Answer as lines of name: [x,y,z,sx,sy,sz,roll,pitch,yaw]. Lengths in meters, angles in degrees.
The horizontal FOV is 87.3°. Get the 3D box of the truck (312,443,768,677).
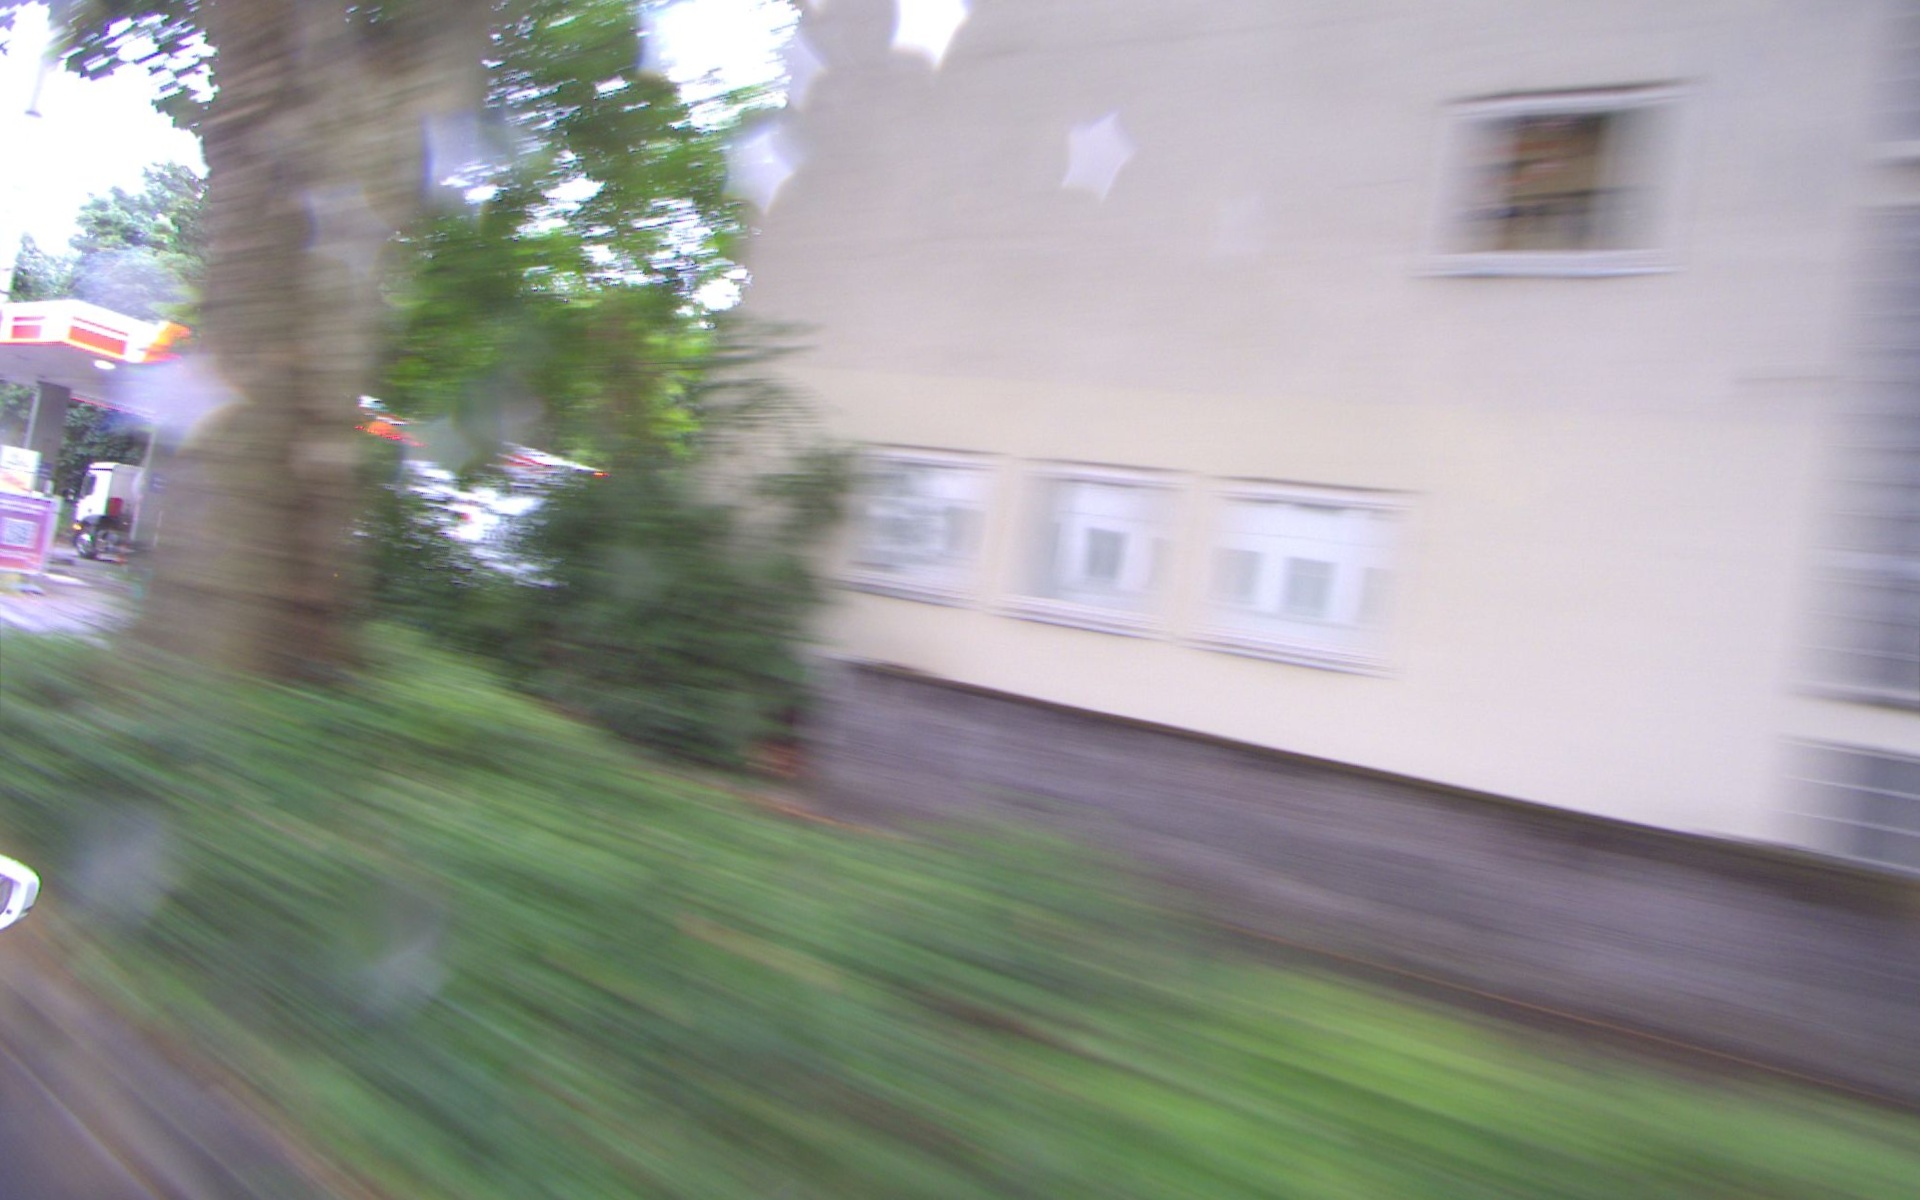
truck: [-9.309,-1.018,21.523,10.213,3.720,3.932,7,-2,36]

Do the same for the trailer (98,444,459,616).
trailer: [-20.190,-2.160,29.468,11.588,3.546,3.907,7,-2,31]

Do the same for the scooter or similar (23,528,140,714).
scooter or similar: [-6.287,0.124,7.183,1.226,1.212,0.371,4,-5,44]

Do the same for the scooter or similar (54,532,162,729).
scooter or similar: [-6.002,0.198,7.132,0.371,1.247,1.358,9,-4,-37]

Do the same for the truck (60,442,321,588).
truck: [-24.522,-2.707,32.062,6.860,3.557,3.913,7,-2,29]
